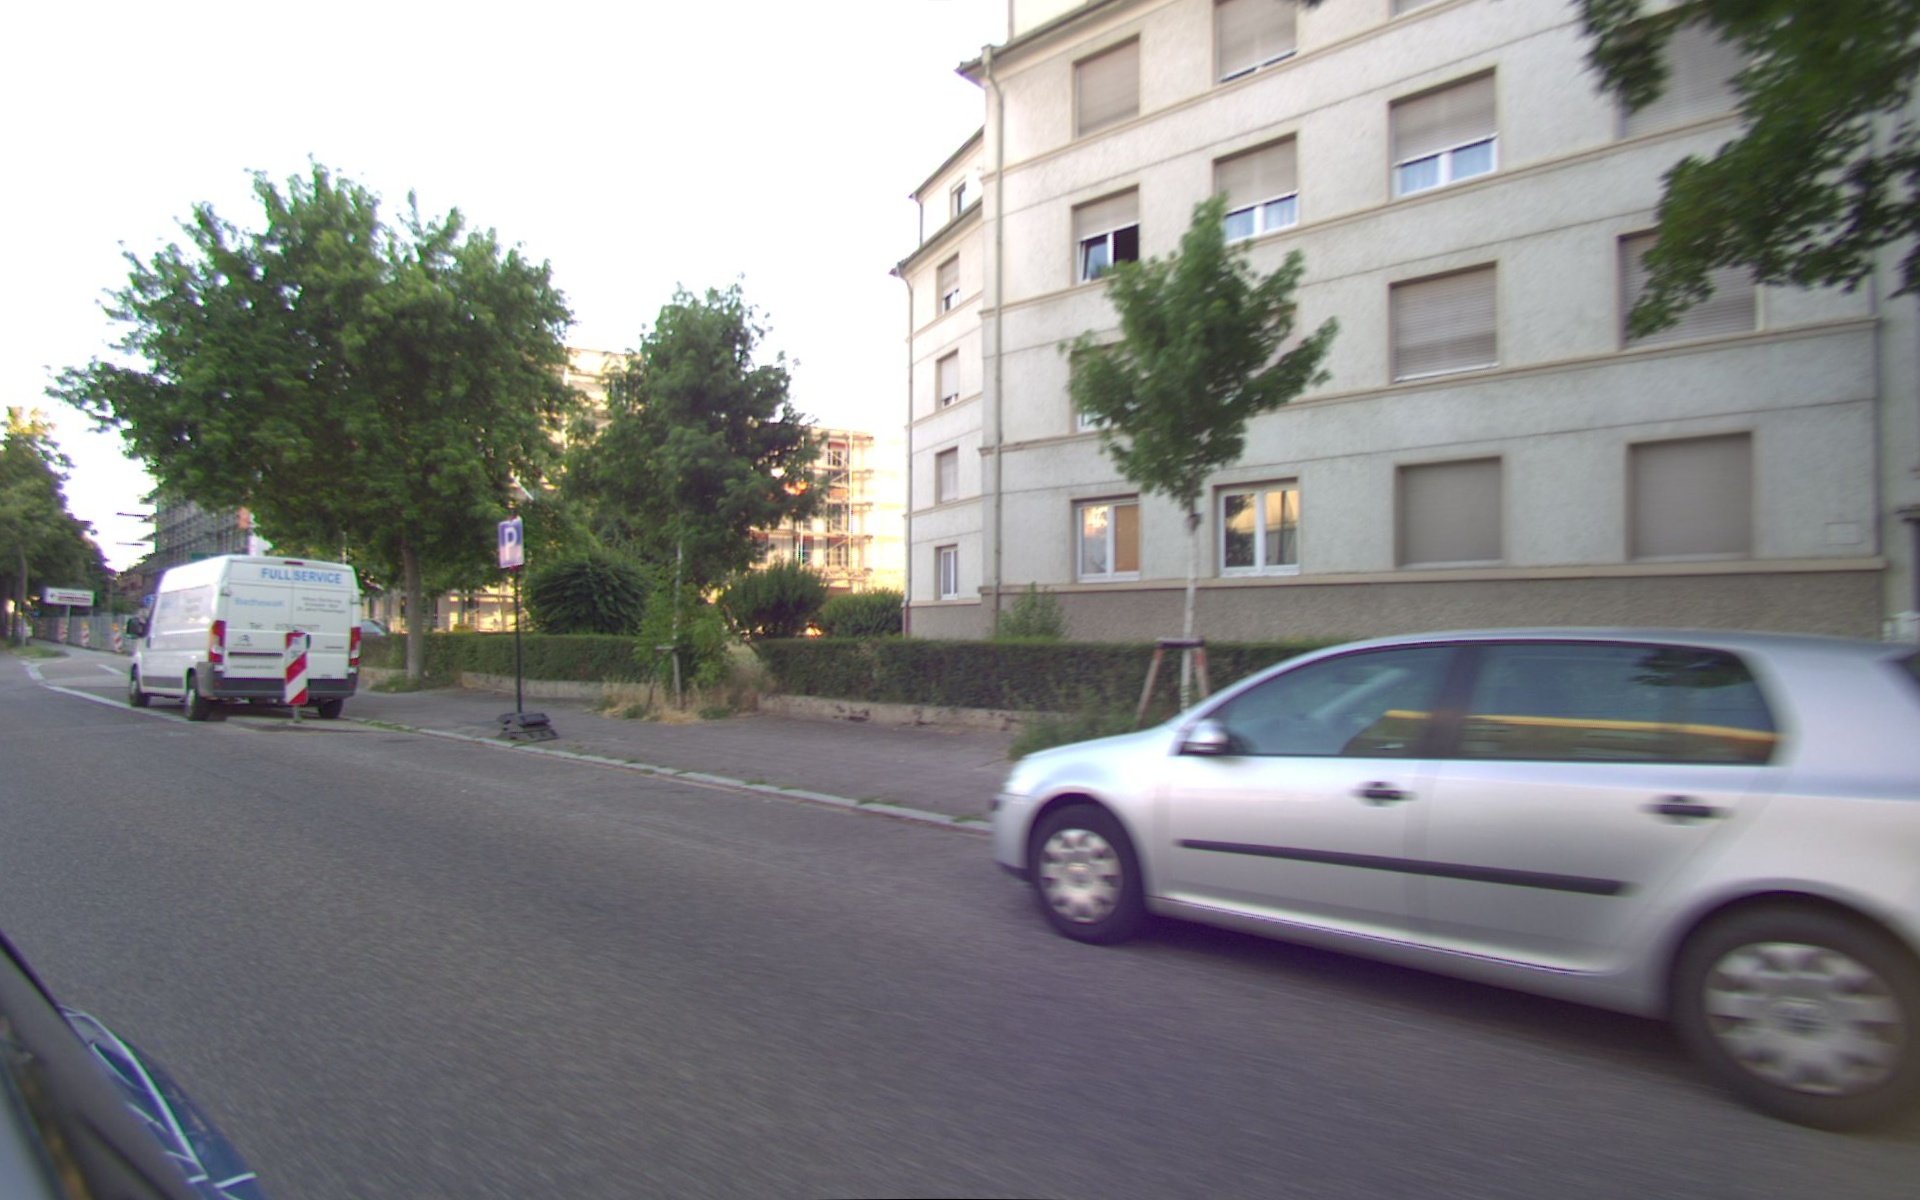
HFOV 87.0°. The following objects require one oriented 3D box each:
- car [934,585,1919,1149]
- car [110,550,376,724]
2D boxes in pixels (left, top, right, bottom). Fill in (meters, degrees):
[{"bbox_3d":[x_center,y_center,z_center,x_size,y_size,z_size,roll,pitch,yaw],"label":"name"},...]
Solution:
[{"bbox_3d":[2.031,0.802,4.336,4.223,1.483,1.733,-2,-6,42],"label":"car"},{"bbox_3d":[-12.339,0.669,17.222,6.099,2.480,2.156,-2,-6,41],"label":"car"}]
